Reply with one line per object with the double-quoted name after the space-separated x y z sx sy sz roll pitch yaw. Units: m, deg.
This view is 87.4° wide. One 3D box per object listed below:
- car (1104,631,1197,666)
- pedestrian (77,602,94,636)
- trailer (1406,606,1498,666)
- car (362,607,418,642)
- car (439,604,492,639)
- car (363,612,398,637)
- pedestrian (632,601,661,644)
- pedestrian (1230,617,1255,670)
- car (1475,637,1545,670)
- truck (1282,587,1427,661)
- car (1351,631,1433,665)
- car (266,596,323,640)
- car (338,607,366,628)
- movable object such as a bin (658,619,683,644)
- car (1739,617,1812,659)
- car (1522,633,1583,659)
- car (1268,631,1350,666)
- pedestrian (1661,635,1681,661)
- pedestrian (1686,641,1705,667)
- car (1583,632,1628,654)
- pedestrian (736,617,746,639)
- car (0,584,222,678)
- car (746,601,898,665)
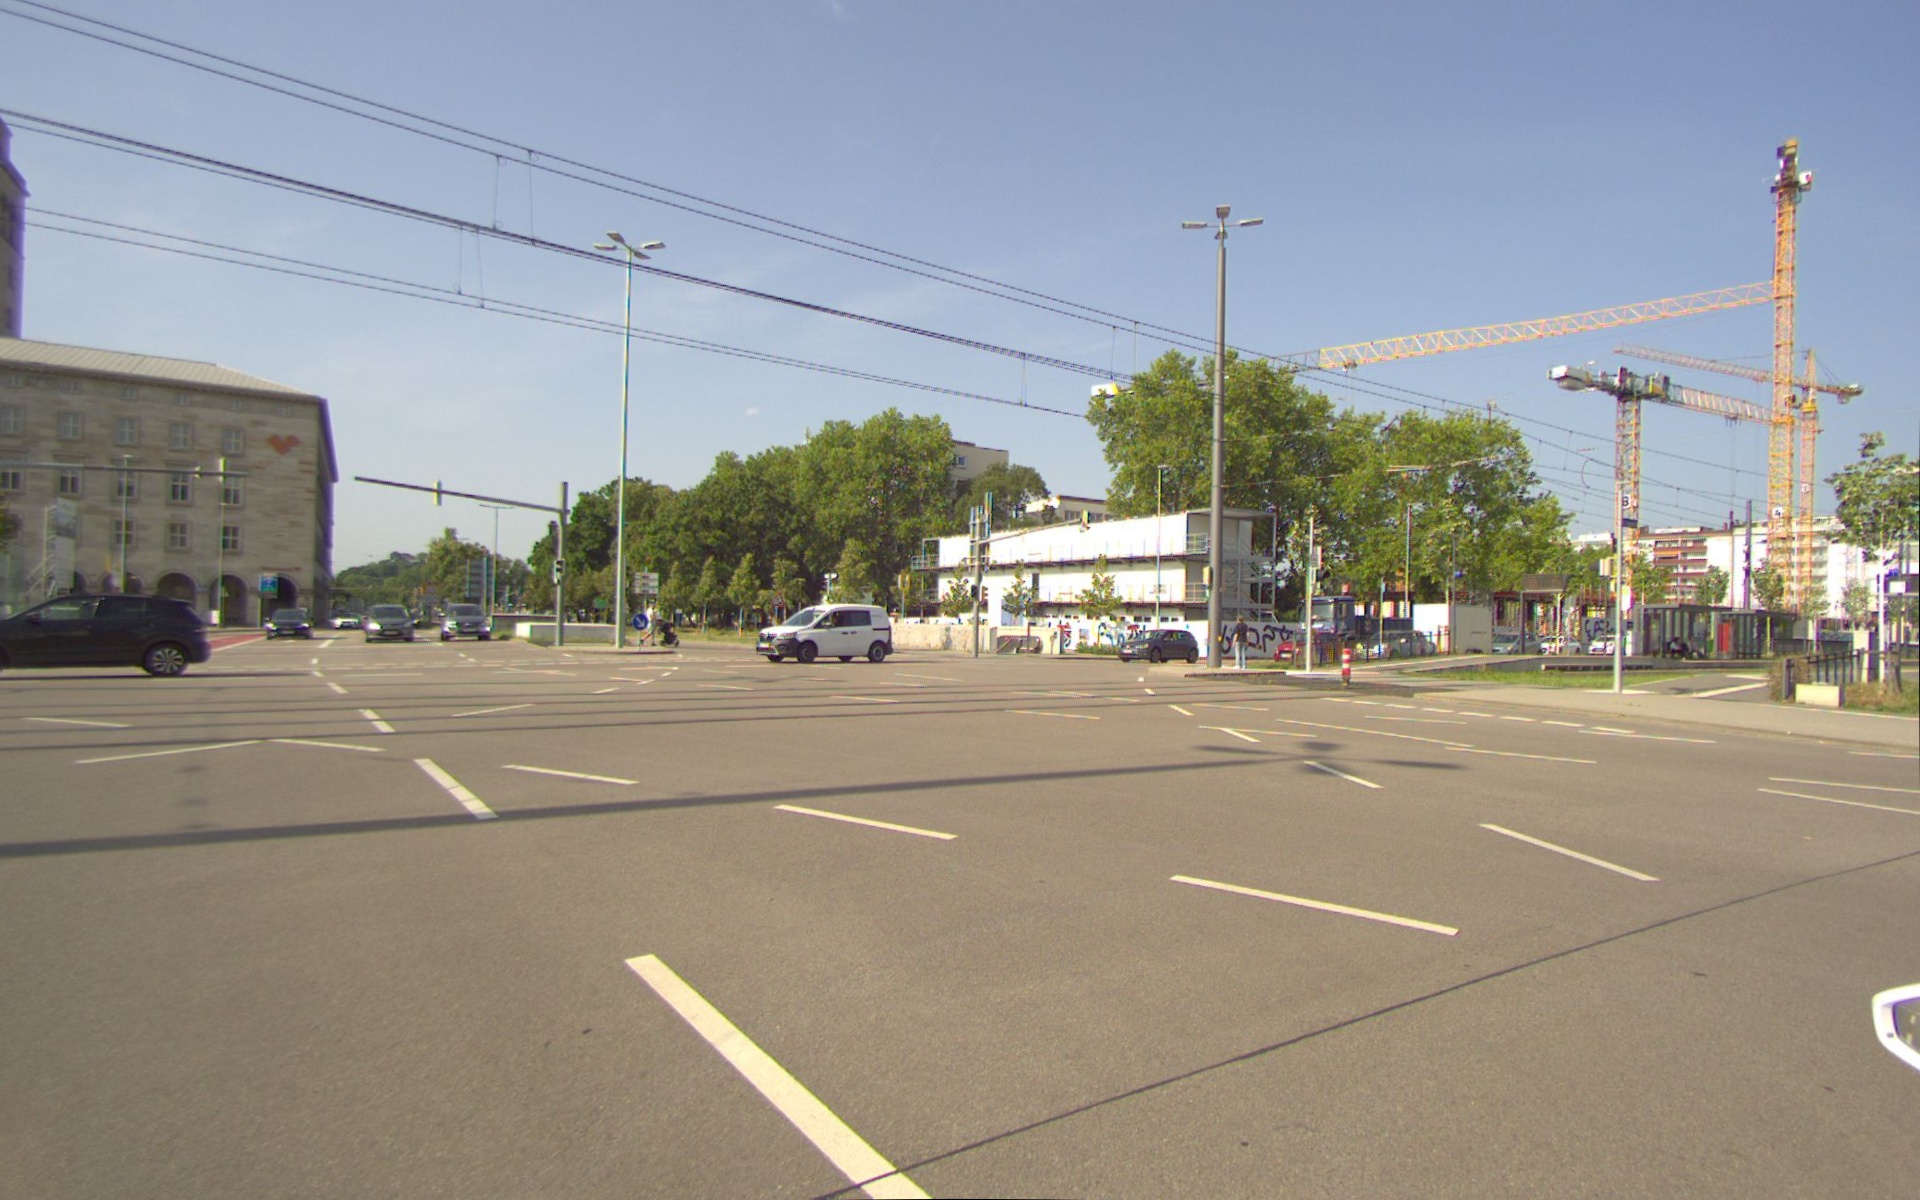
8.140 2.034 42.664 4.392 1.365 1.581 2 -1 -42 "car"
-45.727 0.985 52.541 0.639 1.754 0.575 1 -1 43 "pedestrian"
25.042 1.869 51.094 4.975 2.818 2.030 3 0 -36 "trailer"
-24.662 1.058 43.388 1.694 1.399 3.617 2 -1 -36 "car"
-22.139 0.949 44.902 1.555 1.439 3.308 2 -1 -36 "car"
-37.453 1.561 64.944 1.811 1.526 3.988 2 -1 -28 "car"
-13.034 0.941 41.779 0.995 1.756 0.557 2 -1 -32 "pedestrian"
9.208 1.414 32.725 0.630 1.698 0.370 2 -1 -19 "pedestrian"
30.174 2.931 55.076 4.110 1.684 1.709 3 -1 -36 "car"
21.139 1.332 53.526 8.808 3.634 2.999 2 -1 -37 "truck"
20.366 2.247 47.307 4.363 1.489 1.631 2 -1 -37 "car"
-32.771 0.855 49.578 1.976 2.040 3.969 2 -1 -29 "car"
-52.699 1.512 87.056 1.892 1.739 4.069 2 -1 -33 "car"
-12.201 1.325 42.305 0.898 1.027 0.560 2 -1 -32 "movable object such as a bin"
75.537 3.548 92.968 9.147 3.559 3.032 3 0 -37 "car"
39.833 3.083 67.493 4.570 1.602 1.780 3 -1 -35 "car"
15.206 2.108 43.733 3.668 1.379 1.706 3 -1 -40 "car"
36.219 2.450 51.159 0.587 1.317 0.675 2 -1 -39 "pedestrian"
38.726 2.836 52.906 0.587 1.317 0.675 2 -1 -39 "pedestrian"
46.998 3.113 73.144 3.400 1.483 1.585 3 -1 -36 "car"
-17.667 2.243 80.905 0.535 1.731 0.587 2 -1 -37 "pedestrian"
-16.292 0.561 18.675 3.971 1.622 1.624 2 -1 -43 "car"
-4.164 1.006 30.830 4.486 1.812 1.601 3 -1 -43 "car"
